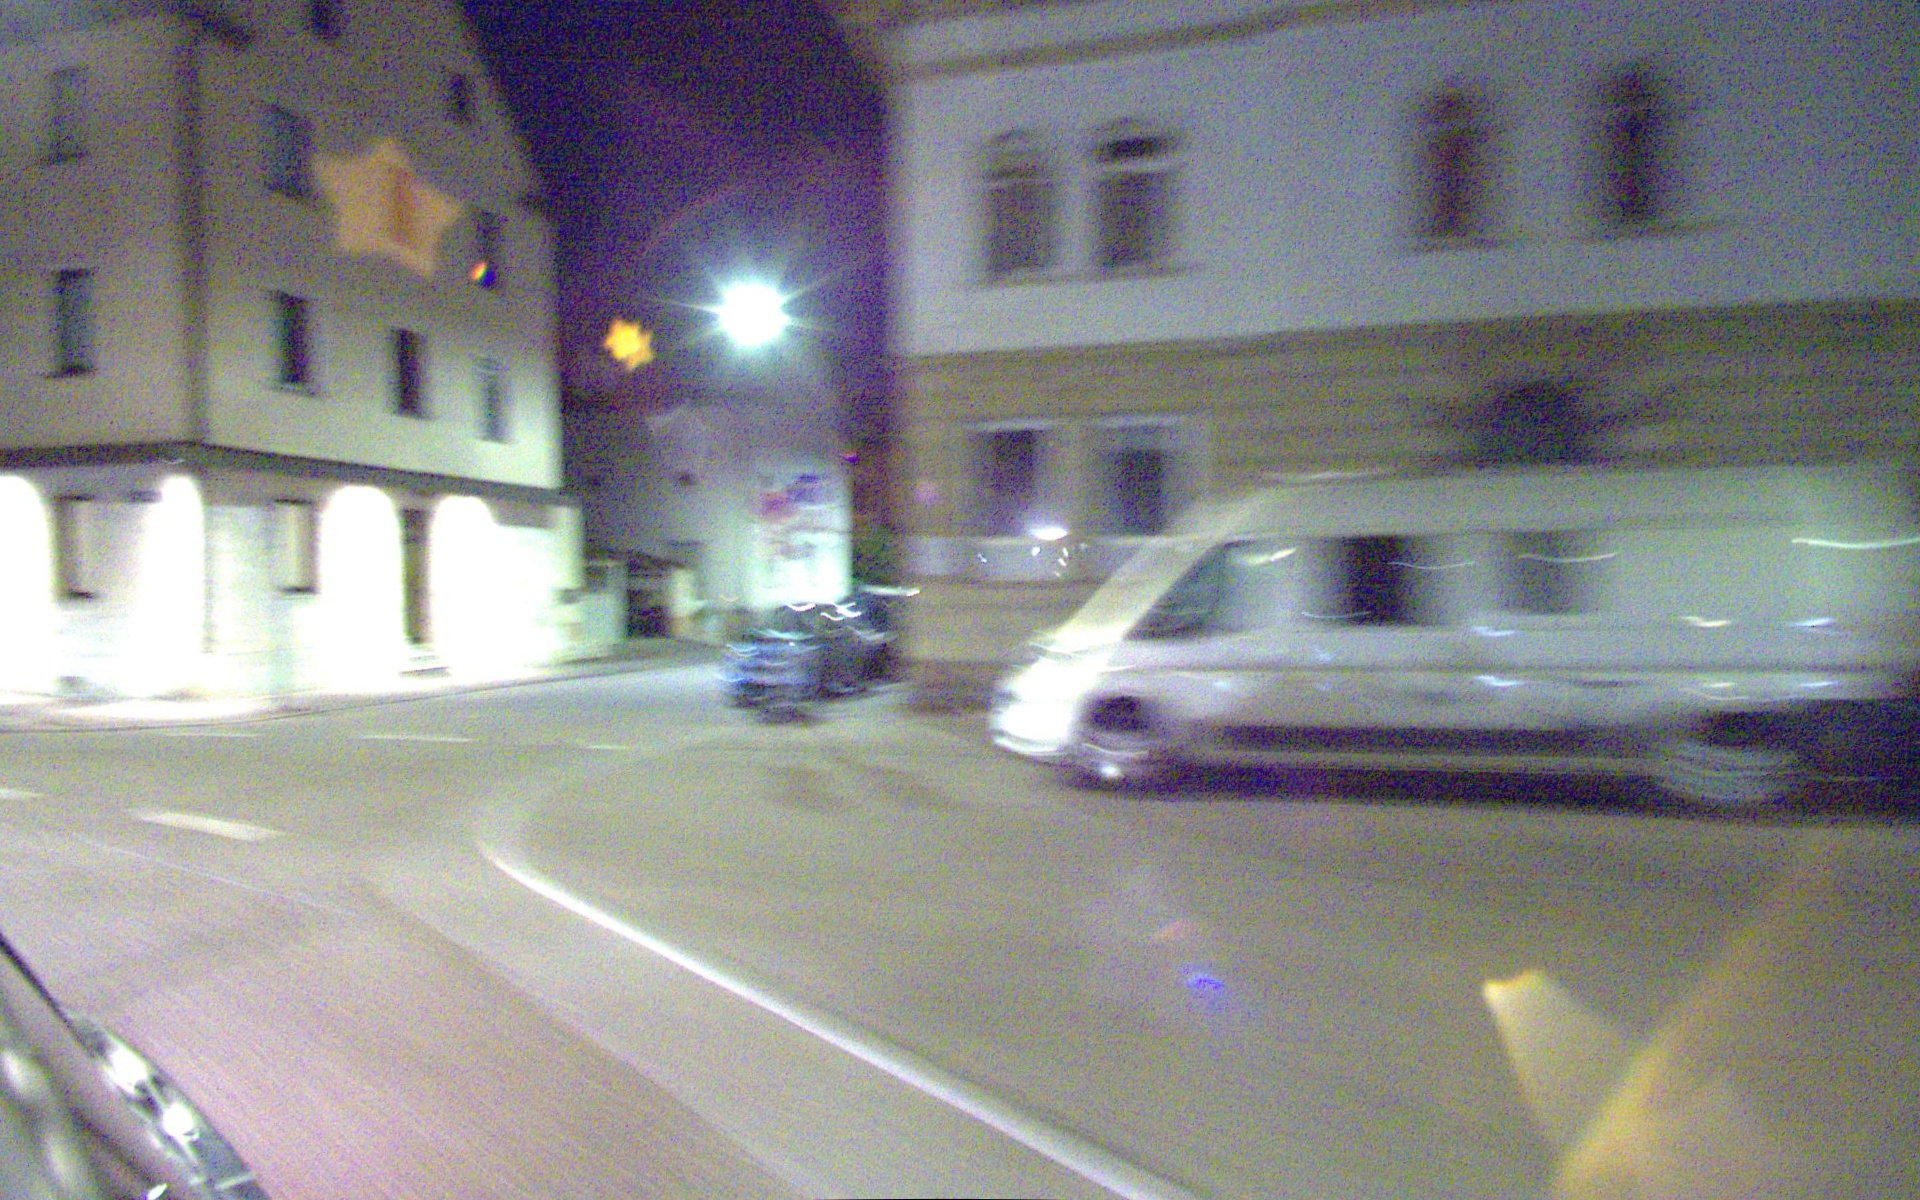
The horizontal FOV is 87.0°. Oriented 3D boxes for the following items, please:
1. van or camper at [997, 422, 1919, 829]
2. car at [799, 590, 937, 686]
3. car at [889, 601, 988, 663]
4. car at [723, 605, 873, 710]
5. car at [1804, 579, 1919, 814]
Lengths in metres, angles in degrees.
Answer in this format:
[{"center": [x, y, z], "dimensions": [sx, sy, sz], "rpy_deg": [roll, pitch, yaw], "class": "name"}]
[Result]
[{"center": [3.515, 0.207, 8.078], "dimensions": [6.165, 2.555, 2.156], "rpy_deg": [0, -2, 14], "class": "van or camper"}, {"center": [-1.779, 0.699, 20.876], "dimensions": [1.701, 1.779, 3.866], "rpy_deg": [0, 0, 14], "class": "car"}, {"center": [-0.483, 0.782, 26.285], "dimensions": [1.723, 1.482, 3.568], "rpy_deg": [0, 0, 14], "class": "car"}, {"center": [-2.572, 0.862, 16.614], "dimensions": [1.475, 1.524, 2.806], "rpy_deg": [0, 0, 14], "class": "car"}, {"center": [8.718, 0.647, 6.717], "dimensions": [4.331, 1.603, 1.890], "rpy_deg": [-1, -1, 14], "class": "car"}]
